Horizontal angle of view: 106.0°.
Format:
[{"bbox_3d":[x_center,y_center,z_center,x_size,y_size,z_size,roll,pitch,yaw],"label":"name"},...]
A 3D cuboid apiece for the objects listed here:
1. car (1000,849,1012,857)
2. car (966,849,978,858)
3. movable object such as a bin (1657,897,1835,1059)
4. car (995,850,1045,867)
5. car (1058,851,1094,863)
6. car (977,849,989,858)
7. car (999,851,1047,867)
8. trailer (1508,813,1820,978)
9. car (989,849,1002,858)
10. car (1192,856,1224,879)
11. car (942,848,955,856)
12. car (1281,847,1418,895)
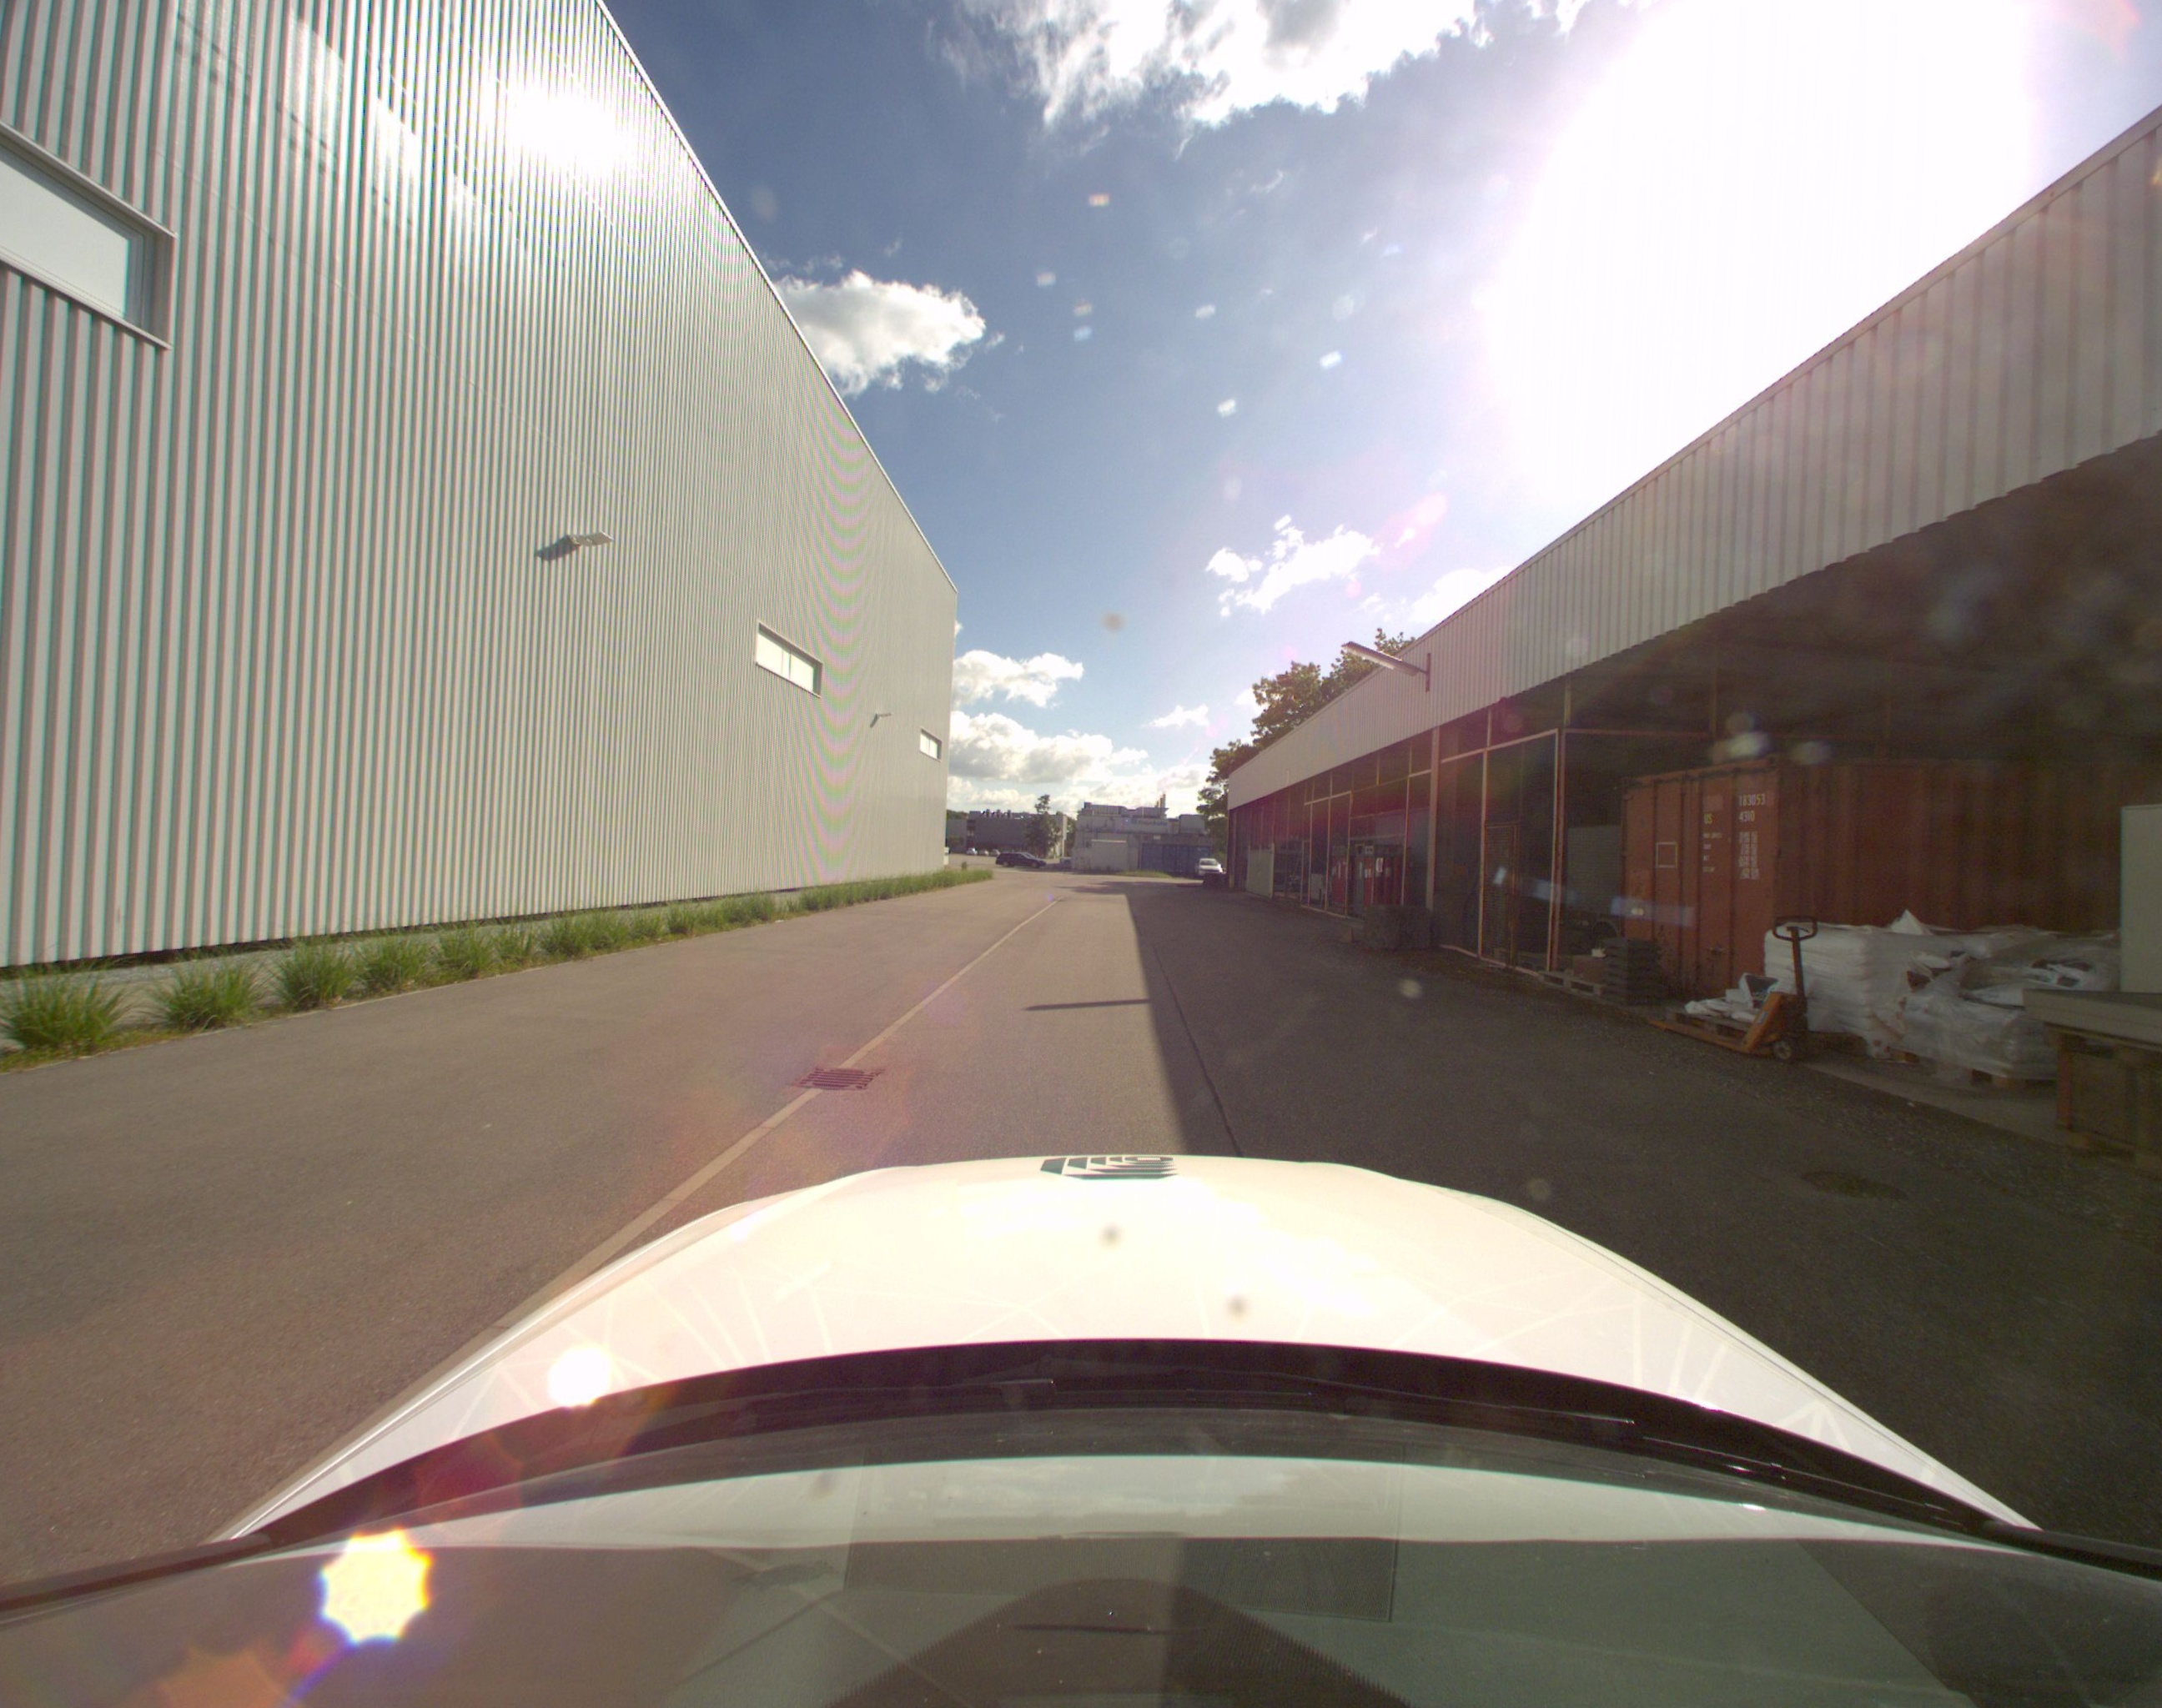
[{"bbox_3d":[-16.020,-0.148,174.302,2.185,1.736,4.001,0,0,2],"label":"car"},{"bbox_3d":[-23.559,-0.119,176.221,1.986,1.736,4.001,0,0,2],"label":"car"},{"bbox_3d":[5.560,0.989,6.896,0.578,1.164,1.240,1,0,6],"label":"movable object such as a bin"},{"bbox_3d":[-5.877,0.459,78.529,4.506,1.508,1.911,1,0,4],"label":"car"},{"bbox_3d":[-0.607,0.384,106.011,4.507,1.508,1.910,2,0,3],"label":"car"},{"bbox_3d":[-21.087,-0.107,175.804,1.986,1.736,4.001,0,0,2],"label":"car"},{"bbox_3d":[-5.777,0.485,81.766,4.506,1.508,1.911,1,0,4],"label":"car"},{"bbox_3d":[8.473,0.527,12.384,1.849,2.058,4.100,1,0,1],"label":"trailer"},{"bbox_3d":[-18.497,-0.119,176.079,2.185,1.736,4.001,0,0,2],"label":"car"},{"bbox_3d":[10.169,1.060,65.333,1.986,1.585,4.175,2,1,2],"label":"car"},{"bbox_3d":[-28.591,-0.370,175.858,1.986,1.736,4.001,0,0,2],"label":"car"},{"bbox_3d":[11.463,0.706,34.987,5.226,1.876,1.997,2,0,-4],"label":"car"}]
